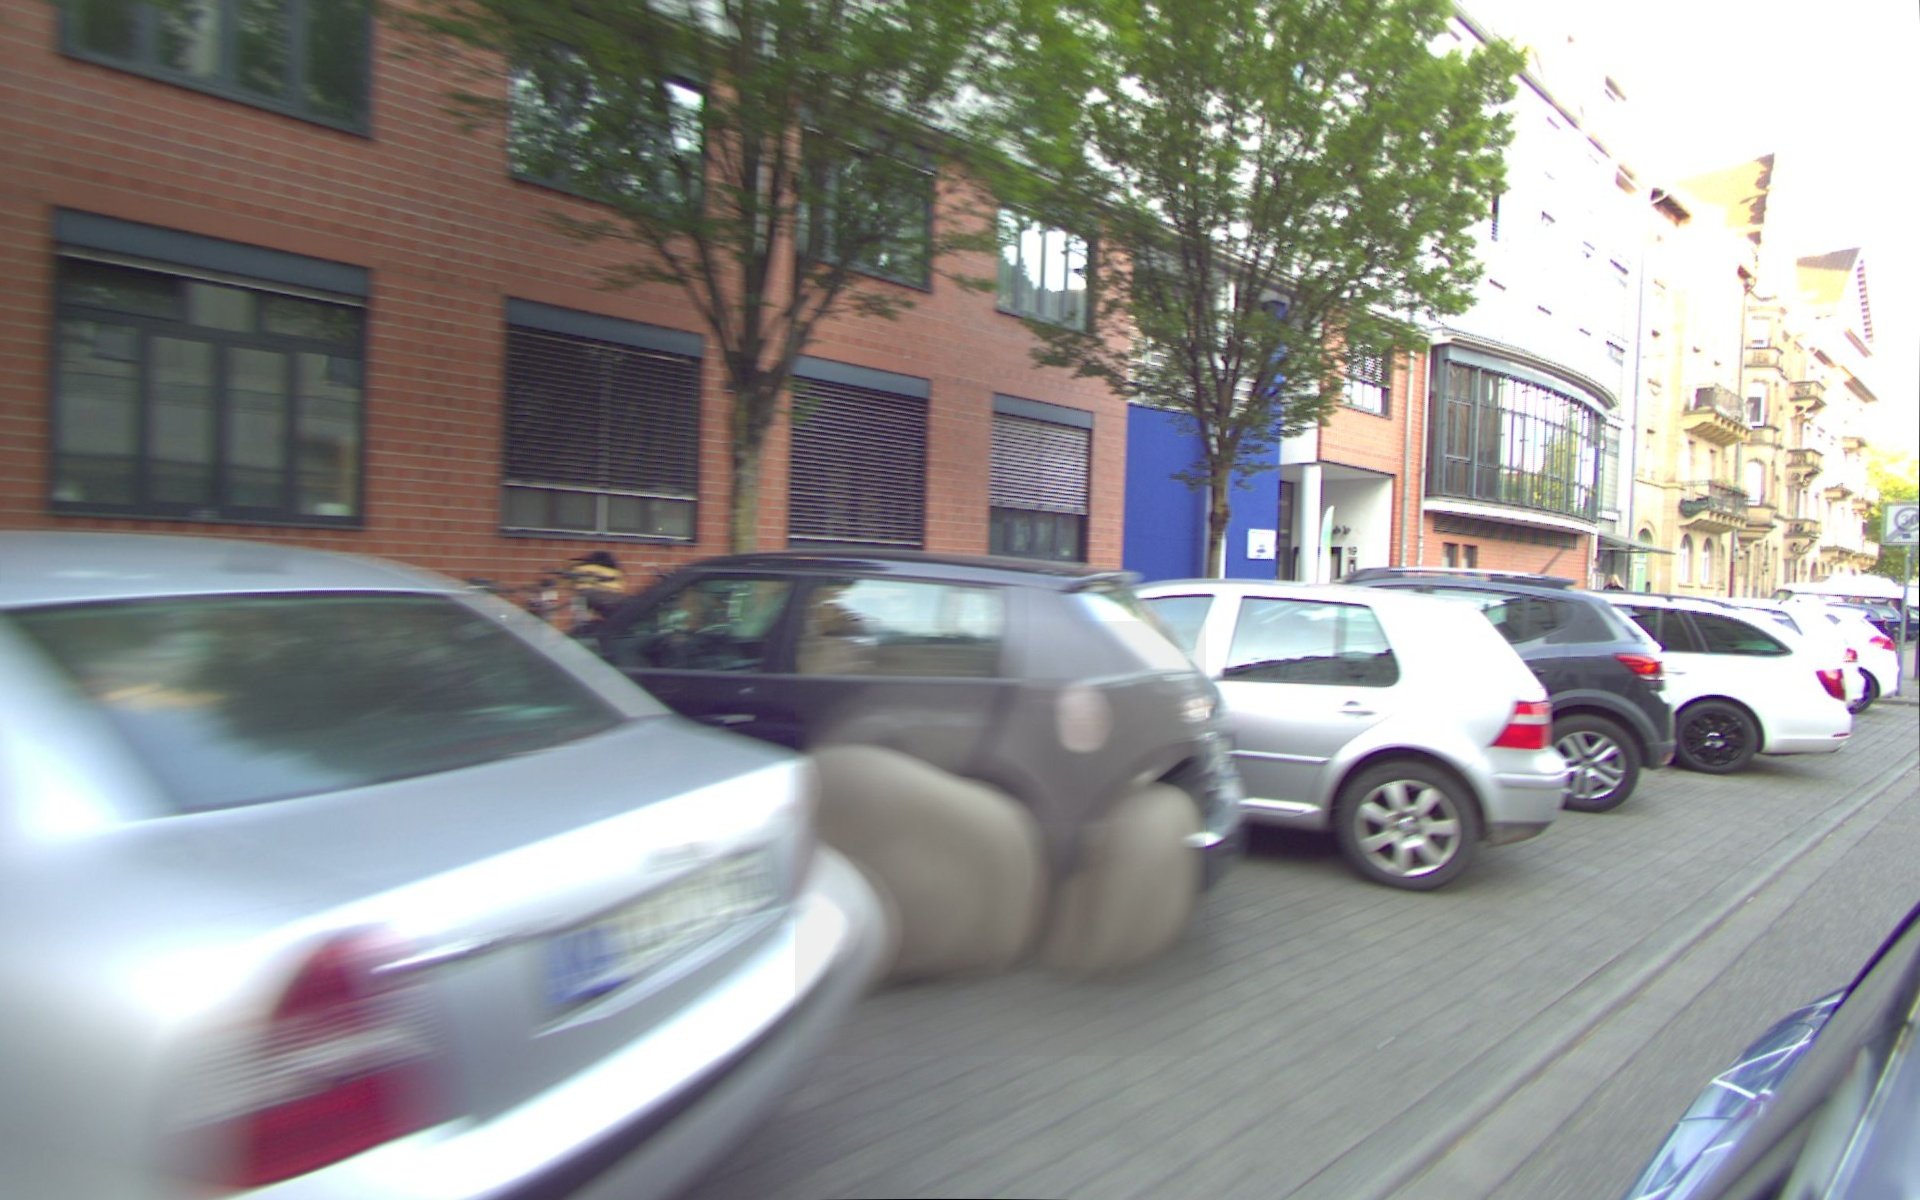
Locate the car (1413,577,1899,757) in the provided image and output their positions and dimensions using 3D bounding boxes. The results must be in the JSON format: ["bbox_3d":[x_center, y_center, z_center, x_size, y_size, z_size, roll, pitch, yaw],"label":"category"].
[{"bbox_3d":[7.212,0.598,11.007,3.949,1.541,1.700,2,3,19],"label":"car"}]

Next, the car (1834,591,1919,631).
[{"bbox_3d":[44.390,0.563,47.913,4.036,1.626,1.811,4,3,12],"label":"car"}]

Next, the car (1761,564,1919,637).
[{"bbox_3d":[34.089,-0.023,38.910,4.668,2.578,1.906,2,2,21],"label":"car"}]

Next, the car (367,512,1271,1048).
[{"bbox_3d":[-0.590,0.464,4.376,3.563,1.553,1.552,2,1,22],"label":"car"}]

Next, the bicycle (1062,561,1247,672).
[{"bbox_3d":[2.356,0.158,12.603,0.667,1.112,2.354,1,5,-38],"label":"bicycle"}]

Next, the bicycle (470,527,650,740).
[{"bbox_3d":[-3.166,0.170,7.827,0.588,1.396,2.542,1,2,-38],"label":"bicycle"}]

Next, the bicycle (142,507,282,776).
[{"bbox_3d":[-4.780,0.167,6.438,0.588,1.396,2.542,1,2,-38],"label":"bicycle"}]

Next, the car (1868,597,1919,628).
[{"bbox_3d":[51.399,0.726,53.725,4.188,1.470,1.994,3,3,11],"label":"car"}]

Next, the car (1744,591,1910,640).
[{"bbox_3d":[30.394,0.516,35.627,4.017,1.510,1.713,2,1,19],"label":"car"}]

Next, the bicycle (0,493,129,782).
[{"bbox_3d":[-5.340,0.133,5.964,0.588,1.396,2.542,1,2,-38],"label":"bicycle"}]

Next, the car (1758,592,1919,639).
[{"bbox_3d":[32.320,0.538,37.151,4.306,1.521,1.900,2,1,22],"label":"car"}]

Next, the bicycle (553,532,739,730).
[{"bbox_3d":[-2.655,0.170,8.310,0.588,1.396,2.542,1,2,-38],"label":"bicycle"}]

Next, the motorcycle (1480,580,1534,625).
[{"bbox_3d":[14.537,0.064,26.875,2.050,1.116,0.589,0,4,-44],"label":"motorcycle"}]

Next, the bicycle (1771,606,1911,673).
[{"bbox_3d":[16.312,0.707,18.788,0.464,1.051,1.861,1,3,-42],"label":"bicycle"}]

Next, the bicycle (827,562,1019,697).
[{"bbox_3d":[-0.456,0.230,10.279,0.552,1.181,2.542,1,2,-38],"label":"bicycle"}]

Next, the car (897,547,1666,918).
[{"bbox_3d":[1.623,0.514,5.763,3.564,1.500,1.710,3,2,22],"label":"car"}]

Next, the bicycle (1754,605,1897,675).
[{"bbox_3d":[15.530,0.692,18.204,0.438,1.078,1.861,1,3,-42],"label":"bicycle"}]

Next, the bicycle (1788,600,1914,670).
[{"bbox_3d":[17.137,0.649,19.500,0.464,1.190,1.711,1,3,-42],"label":"bicycle"}]

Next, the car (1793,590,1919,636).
[{"bbox_3d":[36.495,0.513,40.506,4.344,1.504,1.833,5,3,19],"label":"car"}]

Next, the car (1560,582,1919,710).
[{"bbox_3d":[11.082,0.572,14.502,3.951,1.525,1.759,2,2,21],"label":"car"}]

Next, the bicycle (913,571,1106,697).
[{"bbox_3d":[0.461,0.305,11.051,0.552,1.181,2.542,1,2,-38],"label":"bicycle"}]

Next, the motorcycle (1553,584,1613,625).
[{"bbox_3d":[18.678,0.134,30.300,2.398,1.153,0.801,1,4,-42],"label":"motorcycle"}]

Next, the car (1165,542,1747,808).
[{"bbox_3d":[3.468,0.427,7.734,3.556,1.600,1.707,2,1,17],"label":"car"}]

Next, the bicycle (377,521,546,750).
[{"bbox_3d":[-3.688,0.166,7.346,0.588,1.396,2.542,1,2,-38],"label":"bicycle"}]

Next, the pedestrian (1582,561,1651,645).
[{"bbox_3d":[16.889,0.078,26.033,0.842,2.027,0.612,0,22,-40],"label":"pedestrian"}]

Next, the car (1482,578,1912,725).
[{"bbox_3d":[9.081,0.550,12.903,3.945,1.491,1.866,2,3,17],"label":"car"}]

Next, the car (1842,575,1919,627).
[{"bbox_3d":[52.965,0.112,56.027,5.788,2.581,2.192,3,4,9],"label":"car"}]

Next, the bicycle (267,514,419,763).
[{"bbox_3d":[-4.252,0.167,6.870,0.588,1.396,2.542,1,2,-38],"label":"bicycle"}]

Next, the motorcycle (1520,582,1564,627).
[{"bbox_3d":[16.353,0.103,28.397,0.773,1.153,2.385,4,3,36],"label":"motorcycle"}]

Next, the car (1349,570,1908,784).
[{"bbox_3d":[5.778,0.579,9.344,3.949,1.556,1.626,2,1,19],"label":"car"}]

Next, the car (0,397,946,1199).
[{"bbox_3d":[-2.384,0.479,2.595,4.333,1.553,1.795,2,2,21],"label":"car"}]

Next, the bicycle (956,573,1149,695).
[{"bbox_3d":[0.962,0.320,11.416,0.552,1.181,2.542,1,2,-38],"label":"bicycle"}]
